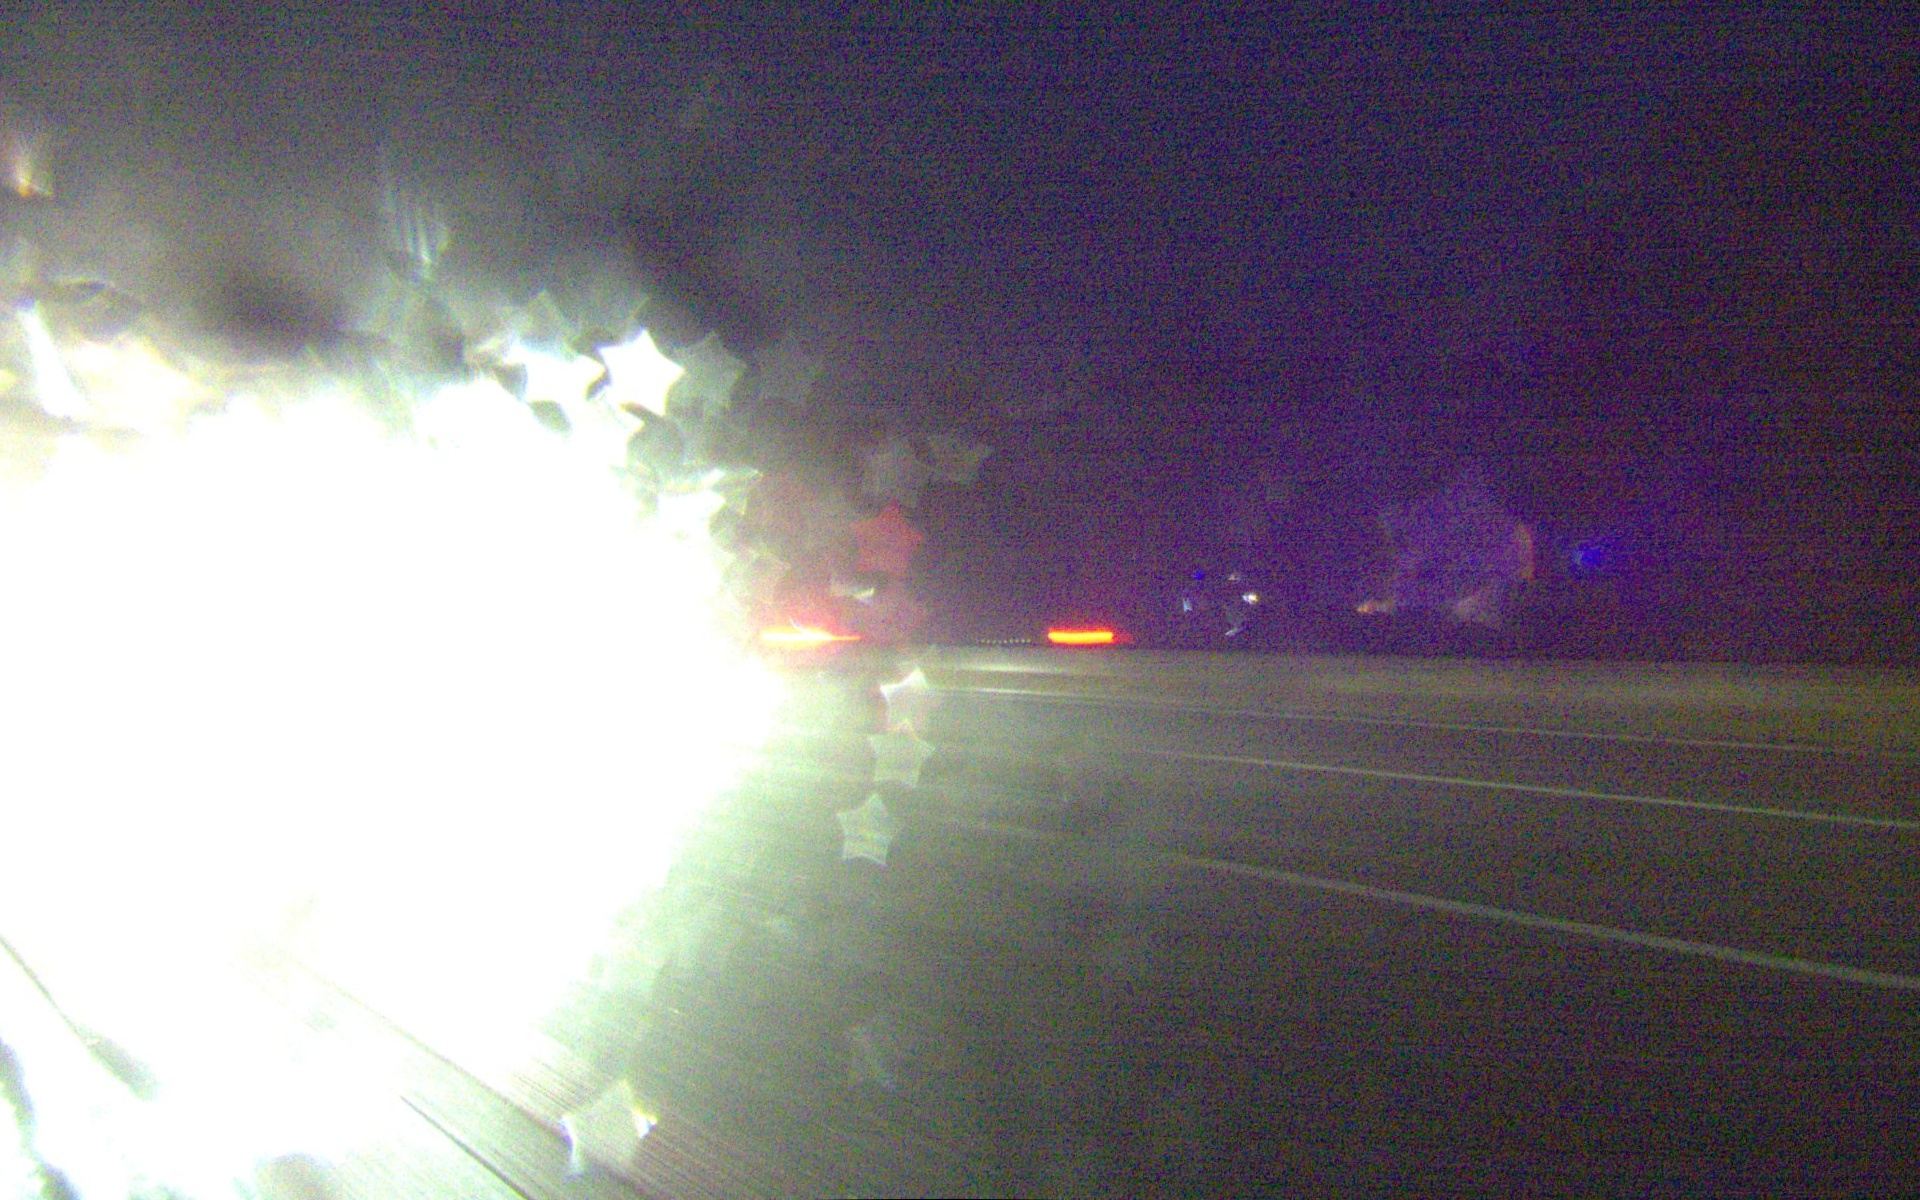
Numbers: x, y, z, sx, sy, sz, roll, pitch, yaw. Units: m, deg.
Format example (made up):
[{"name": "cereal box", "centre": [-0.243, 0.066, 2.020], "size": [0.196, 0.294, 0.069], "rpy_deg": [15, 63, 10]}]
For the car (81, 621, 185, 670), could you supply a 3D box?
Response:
[{"name": "car", "centre": [-28.270, 1.504, 34.534], "size": [5.163, 1.487, 1.973], "rpy_deg": [-1, 0, 41]}]

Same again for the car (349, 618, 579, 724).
[{"name": "car", "centre": [-8.107, 1.041, 16.400], "size": [3.998, 1.452, 1.973], "rpy_deg": [-1, 0, 41]}]

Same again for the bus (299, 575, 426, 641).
[{"name": "bus", "centre": [-45.208, 0.607, 76.128], "size": [16.536, 4.482, 3.335], "rpy_deg": [-1, 0, 42]}]

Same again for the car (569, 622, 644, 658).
[{"name": "car", "centre": [-18.515, 2.075, 52.971], "size": [4.262, 1.734, 1.860], "rpy_deg": [-1, 0, 41]}]

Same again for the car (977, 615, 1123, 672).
[{"name": "car", "centre": [2.934, 1.379, 33.468], "size": [4.557, 1.734, 1.862], "rpy_deg": [-1, 0, 38]}]
